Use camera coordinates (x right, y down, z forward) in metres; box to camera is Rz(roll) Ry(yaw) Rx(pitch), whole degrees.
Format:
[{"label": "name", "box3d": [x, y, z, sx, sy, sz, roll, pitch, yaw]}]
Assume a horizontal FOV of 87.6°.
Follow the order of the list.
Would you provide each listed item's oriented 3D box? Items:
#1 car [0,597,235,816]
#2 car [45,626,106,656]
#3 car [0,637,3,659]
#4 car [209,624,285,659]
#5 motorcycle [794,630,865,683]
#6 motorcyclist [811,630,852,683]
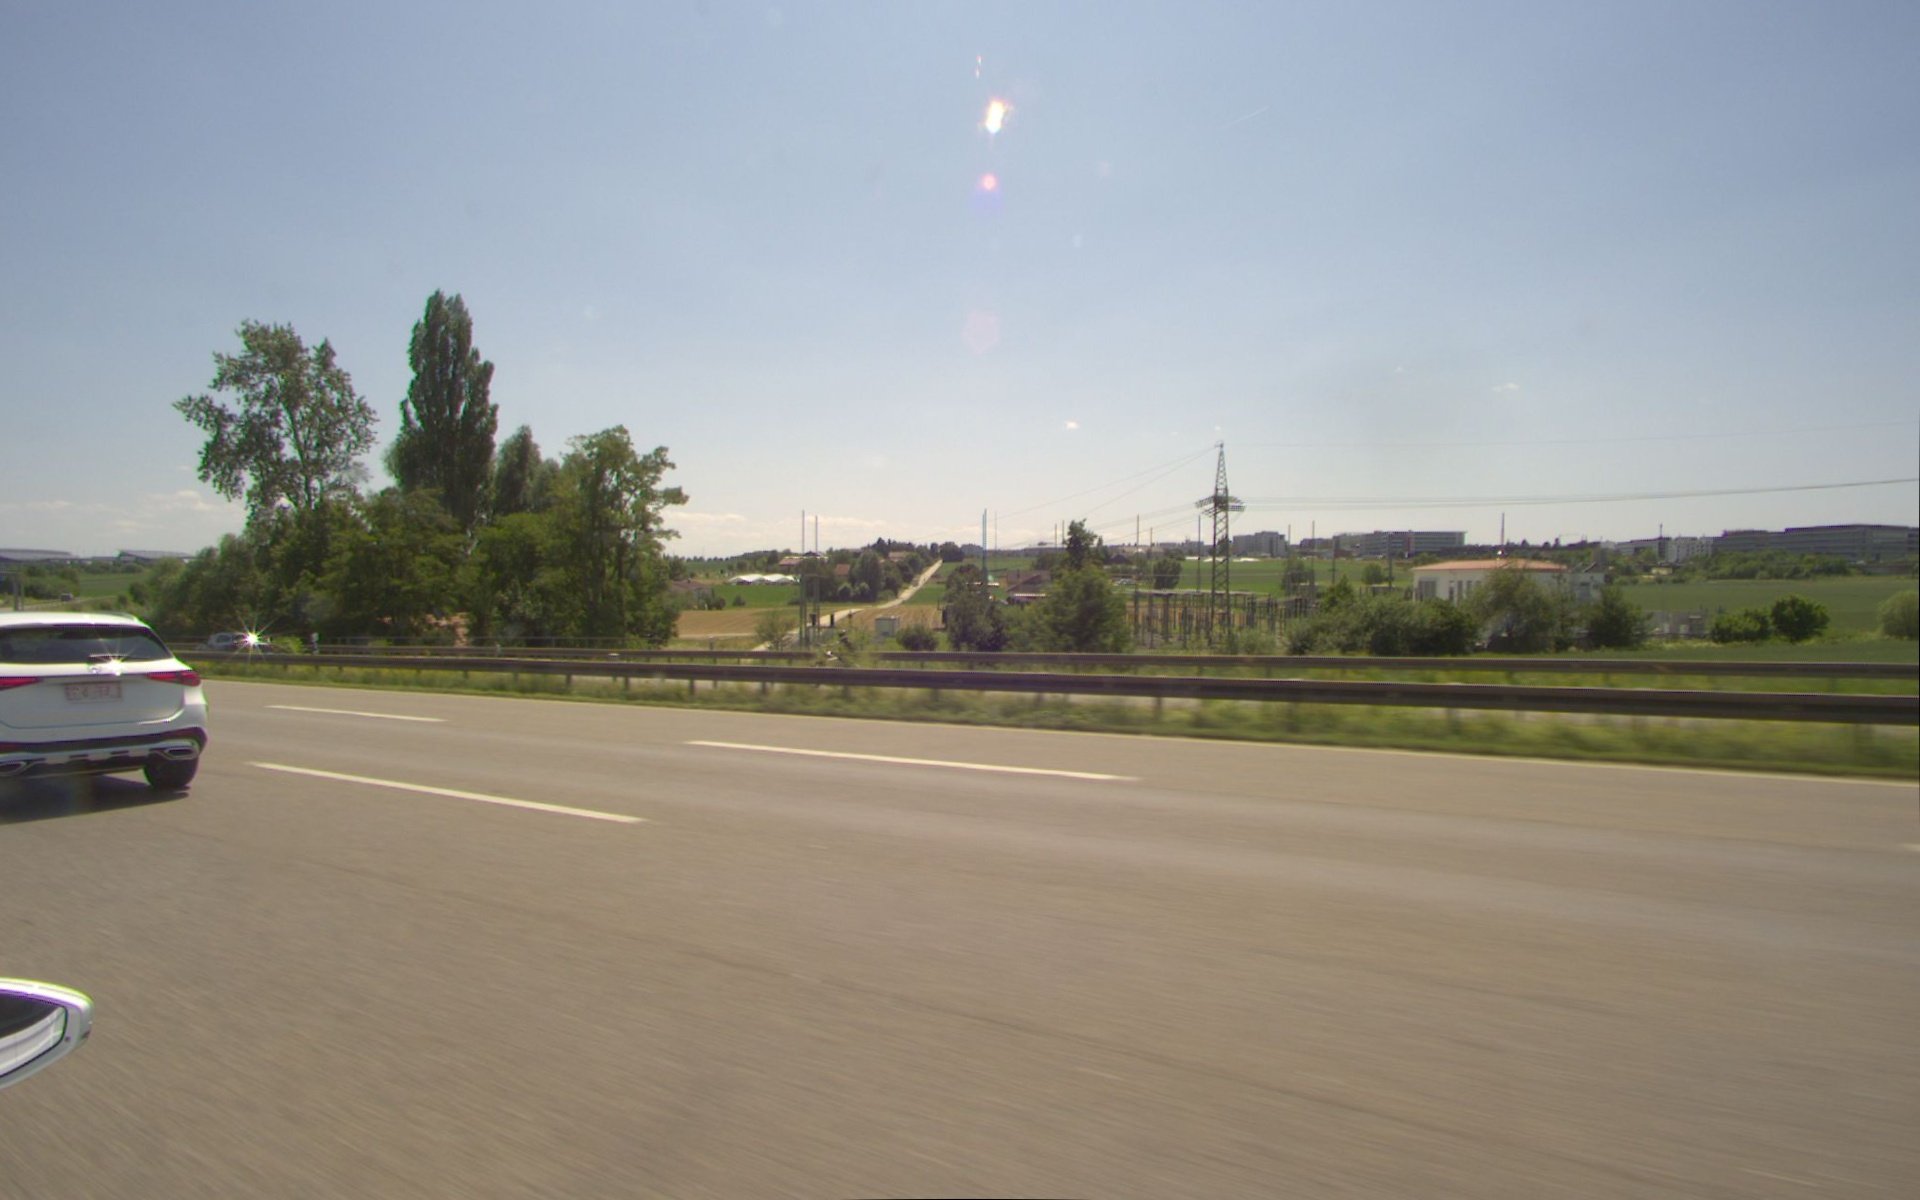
[{"label": "car", "box3d": [-9.053, 0.878, 9.487, 4.928, 1.668, 1.894, -1, -2, 33]}, {"label": "car", "box3d": [-57.851, 2.669, 65.474, 4.120, 1.948, 1.935, -1, -2, 33]}, {"label": "car", "box3d": [-74.612, 3.653, 75.824, 3.938, 1.616, 1.992, -1, -2, 28]}, {"label": "car", "box3d": [-34.052, 1.967, 47.800, 4.072, 1.595, 1.695, -1, -2, 34]}, {"label": "motorcycle", "box3d": [-3.497, 1.497, 26.806, 1.844, 1.384, 0.758, -1, -1, 34]}, {"label": "motorcyclist", "box3d": [-3.443, 1.499, 26.793, 0.866, 1.384, 0.667, -1, -1, 32]}]
